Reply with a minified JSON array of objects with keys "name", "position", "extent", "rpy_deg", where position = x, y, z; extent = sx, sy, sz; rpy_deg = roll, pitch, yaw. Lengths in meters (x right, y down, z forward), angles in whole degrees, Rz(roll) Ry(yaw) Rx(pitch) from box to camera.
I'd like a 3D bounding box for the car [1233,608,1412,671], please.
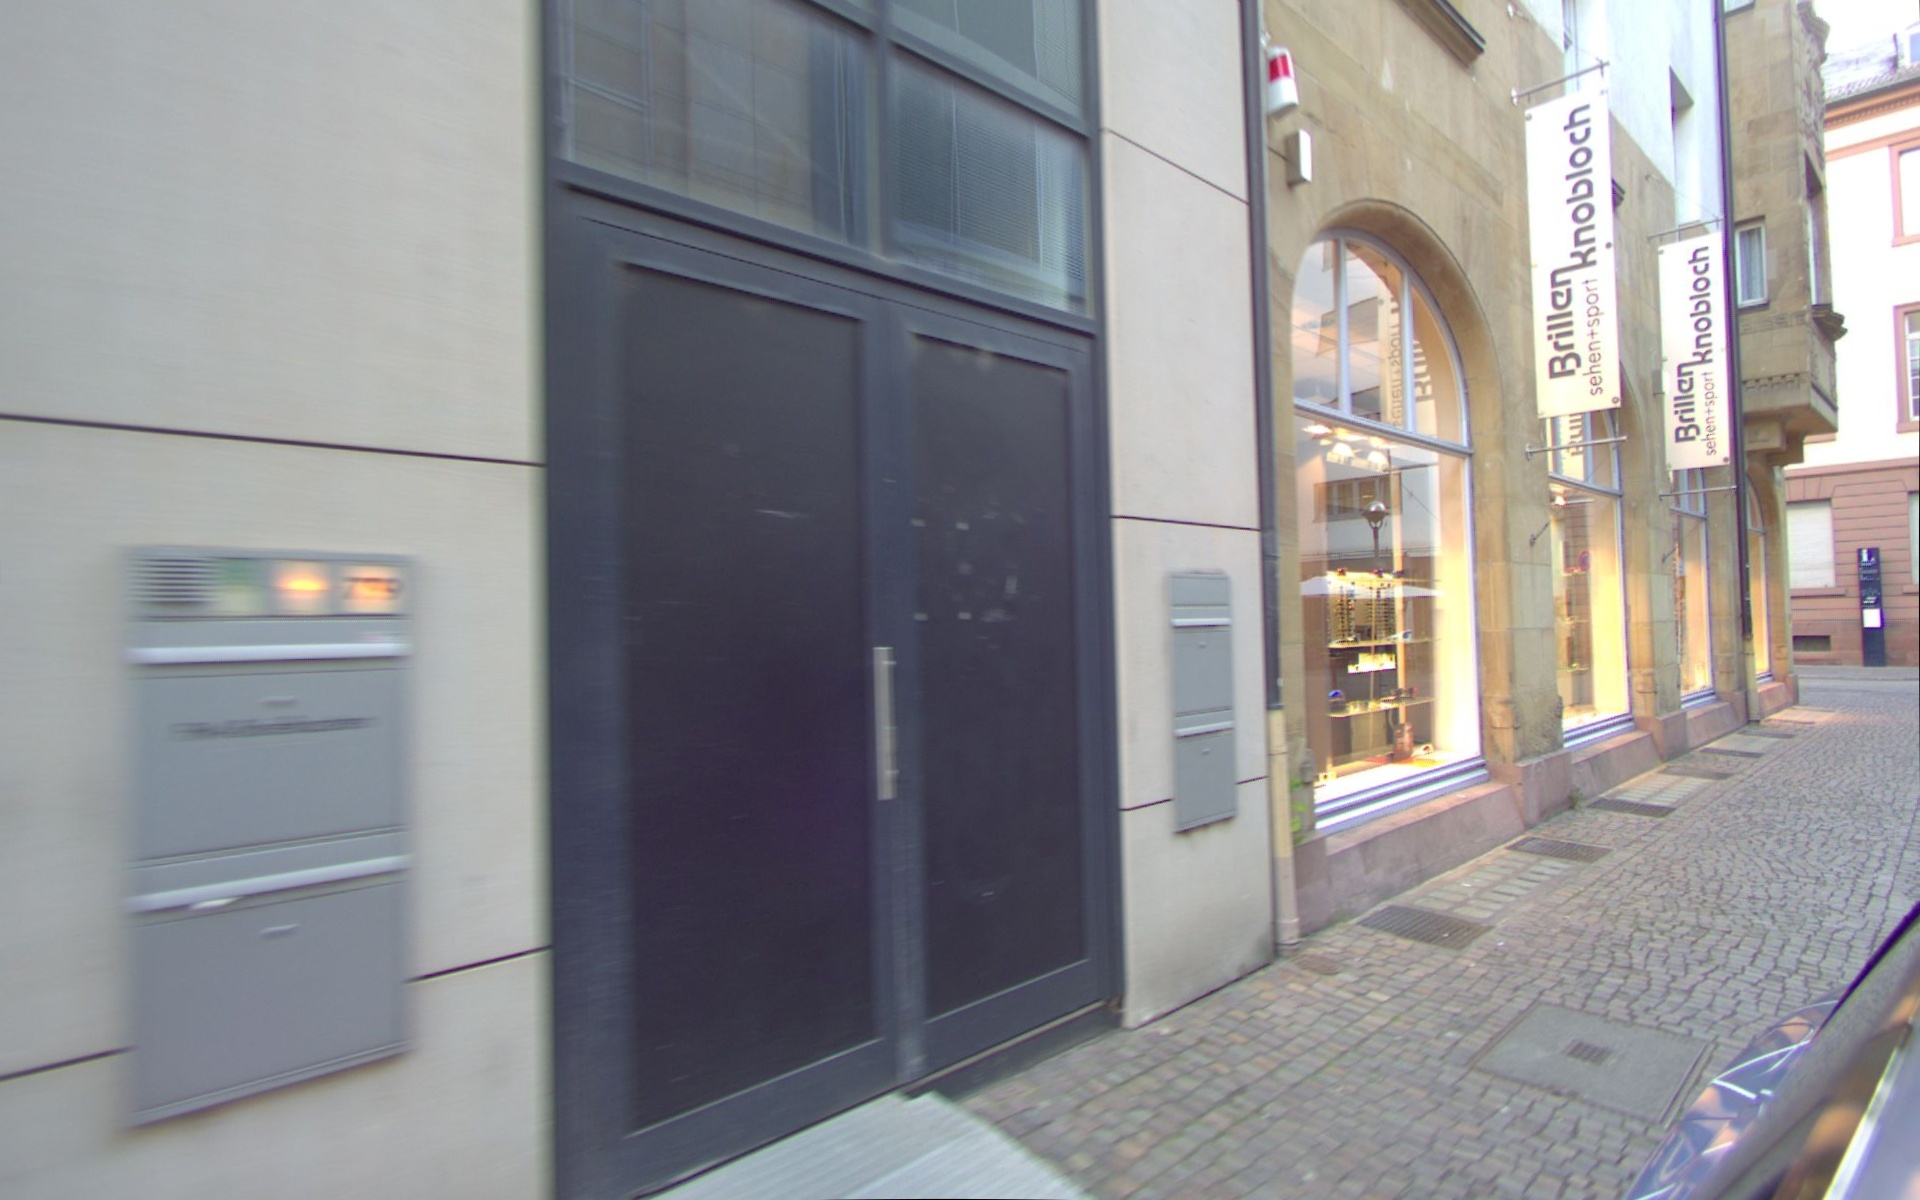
[{"name":"car","position":[9.146,0.989,25.756],"extent":[1.622,1.461,3.992],"rpy_deg":[0,-1,-41]}]
